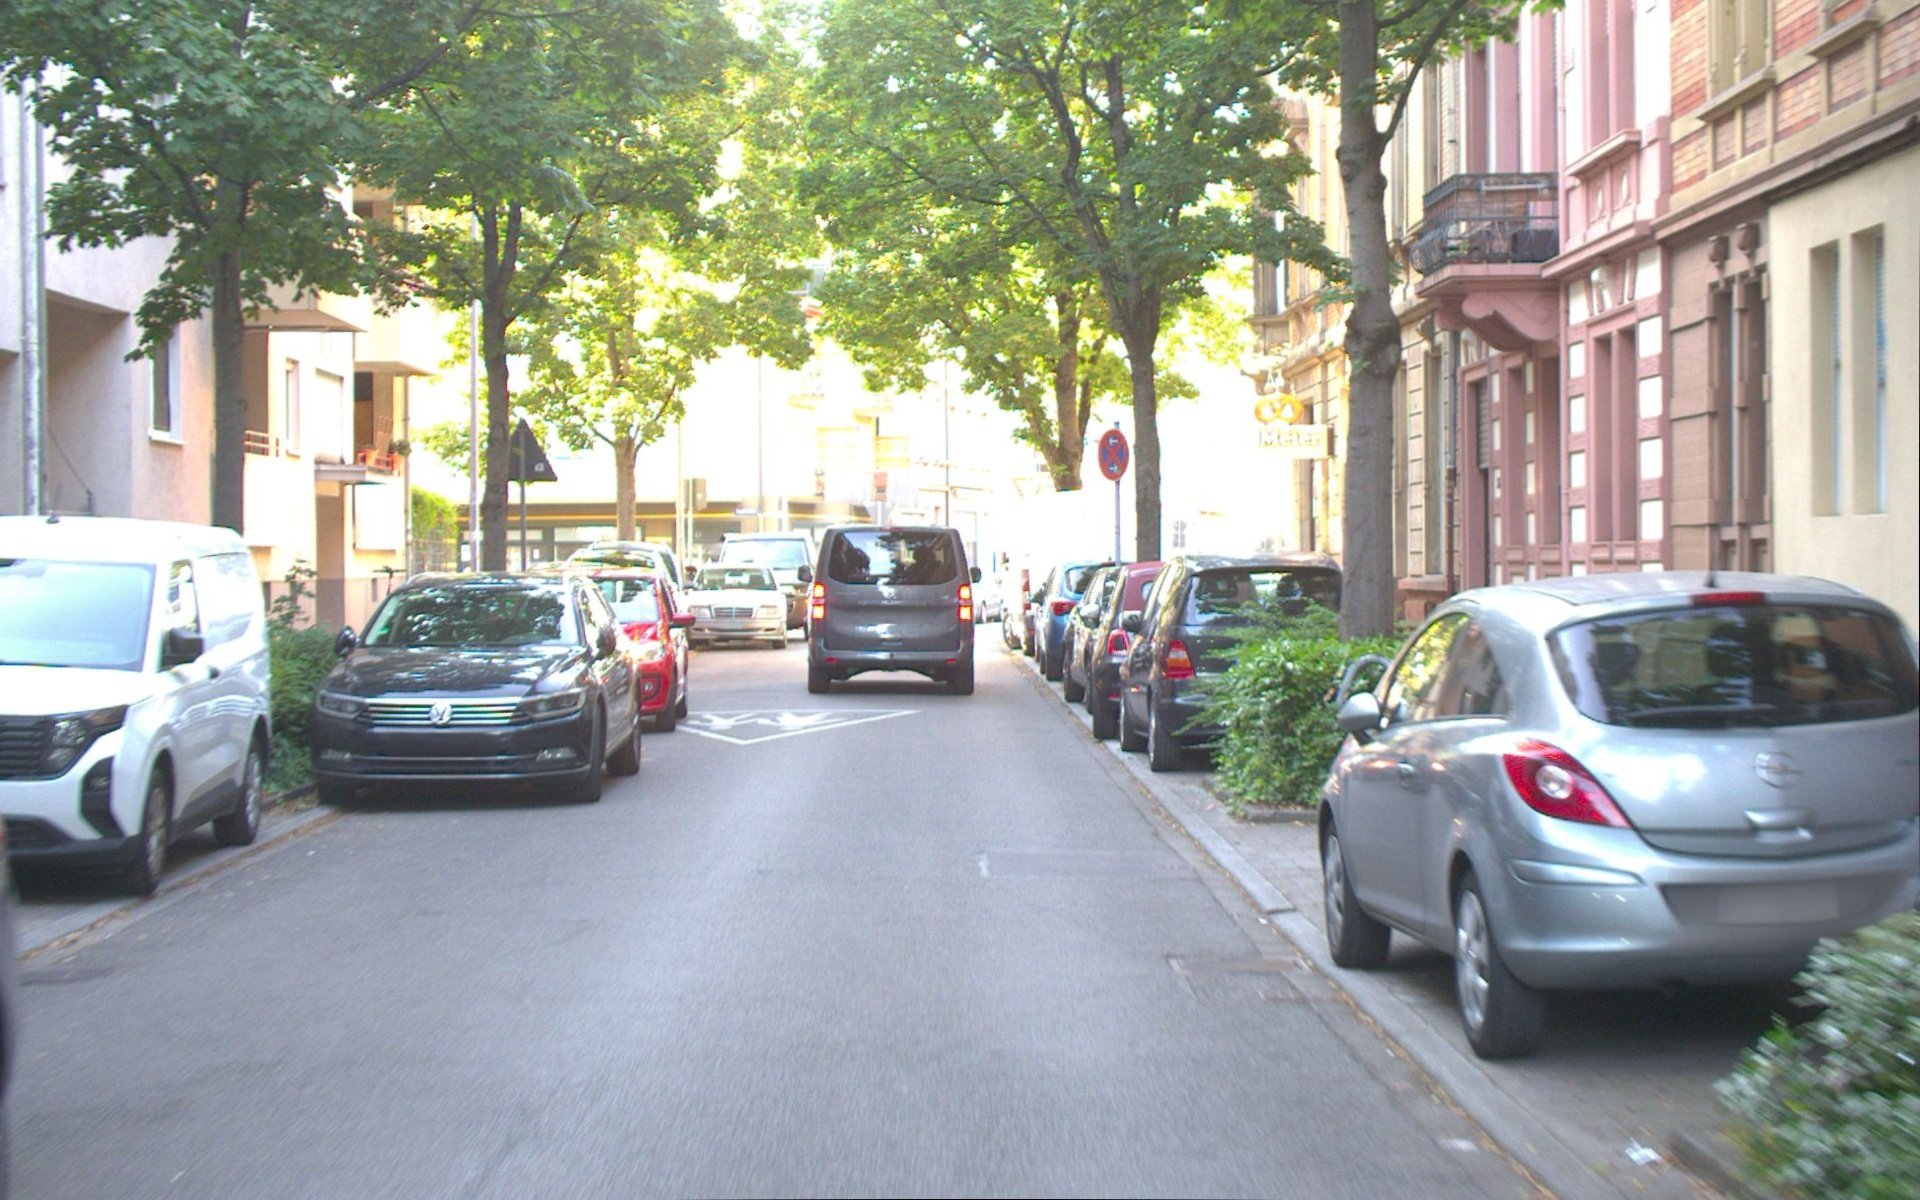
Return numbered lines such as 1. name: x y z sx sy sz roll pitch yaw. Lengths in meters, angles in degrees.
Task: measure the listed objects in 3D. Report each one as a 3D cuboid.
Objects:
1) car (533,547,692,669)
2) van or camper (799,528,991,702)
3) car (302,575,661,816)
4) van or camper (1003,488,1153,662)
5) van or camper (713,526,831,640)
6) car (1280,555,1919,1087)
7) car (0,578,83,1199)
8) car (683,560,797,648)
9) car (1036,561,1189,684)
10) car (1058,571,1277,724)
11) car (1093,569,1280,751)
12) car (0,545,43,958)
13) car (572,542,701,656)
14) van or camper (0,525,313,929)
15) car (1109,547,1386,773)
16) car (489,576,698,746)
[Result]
1. car: -4.956 0.077 49.462 1.897 1.631 4.156 1 1 -1
2. van or camper: -0.690 0.130 39.548 2.035 1.891 4.271 0 1 1
3. car: -3.145 0.575 23.453 1.846 1.446 4.503 0 1 0
4. van or camper: 1.795 -0.411 54.145 1.993 2.590 5.425 0 1 -2
5. van or camper: -3.415 -0.333 63.120 1.862 1.976 4.271 -1 1 1
6. car: 2.265 0.616 11.961 1.697 1.478 4.000 -2 1 -3
7. car: -2.895 0.732 5.669 1.830 1.512 4.516 0 0 -1
8. car: -3.686 0.041 58.020 1.741 1.399 3.375 -1 1 -1
9. car: 1.871 0.244 43.171 1.750 1.466 3.776 0 1 0
10. car: 2.012 0.430 34.314 1.715 1.398 3.814 -1 1 -3
11. car: 1.953 0.486 30.444 1.551 1.491 3.610 0 1 2
12. car: -4.816 0.608 12.009 2.034 1.666 4.649 3 1 -2
13. car: -5.076 -0.047 54.286 1.741 1.706 3.375 1 1 -1
14. van or camper: -4.694 0.523 17.718 1.931 1.754 4.466 3 1 -2
15. car: 2.115 0.394 26.144 1.611 1.553 3.766 -1 1 -2
16. car: -3.325 0.517 31.719 1.630 1.425 3.543 -1 1 -2
